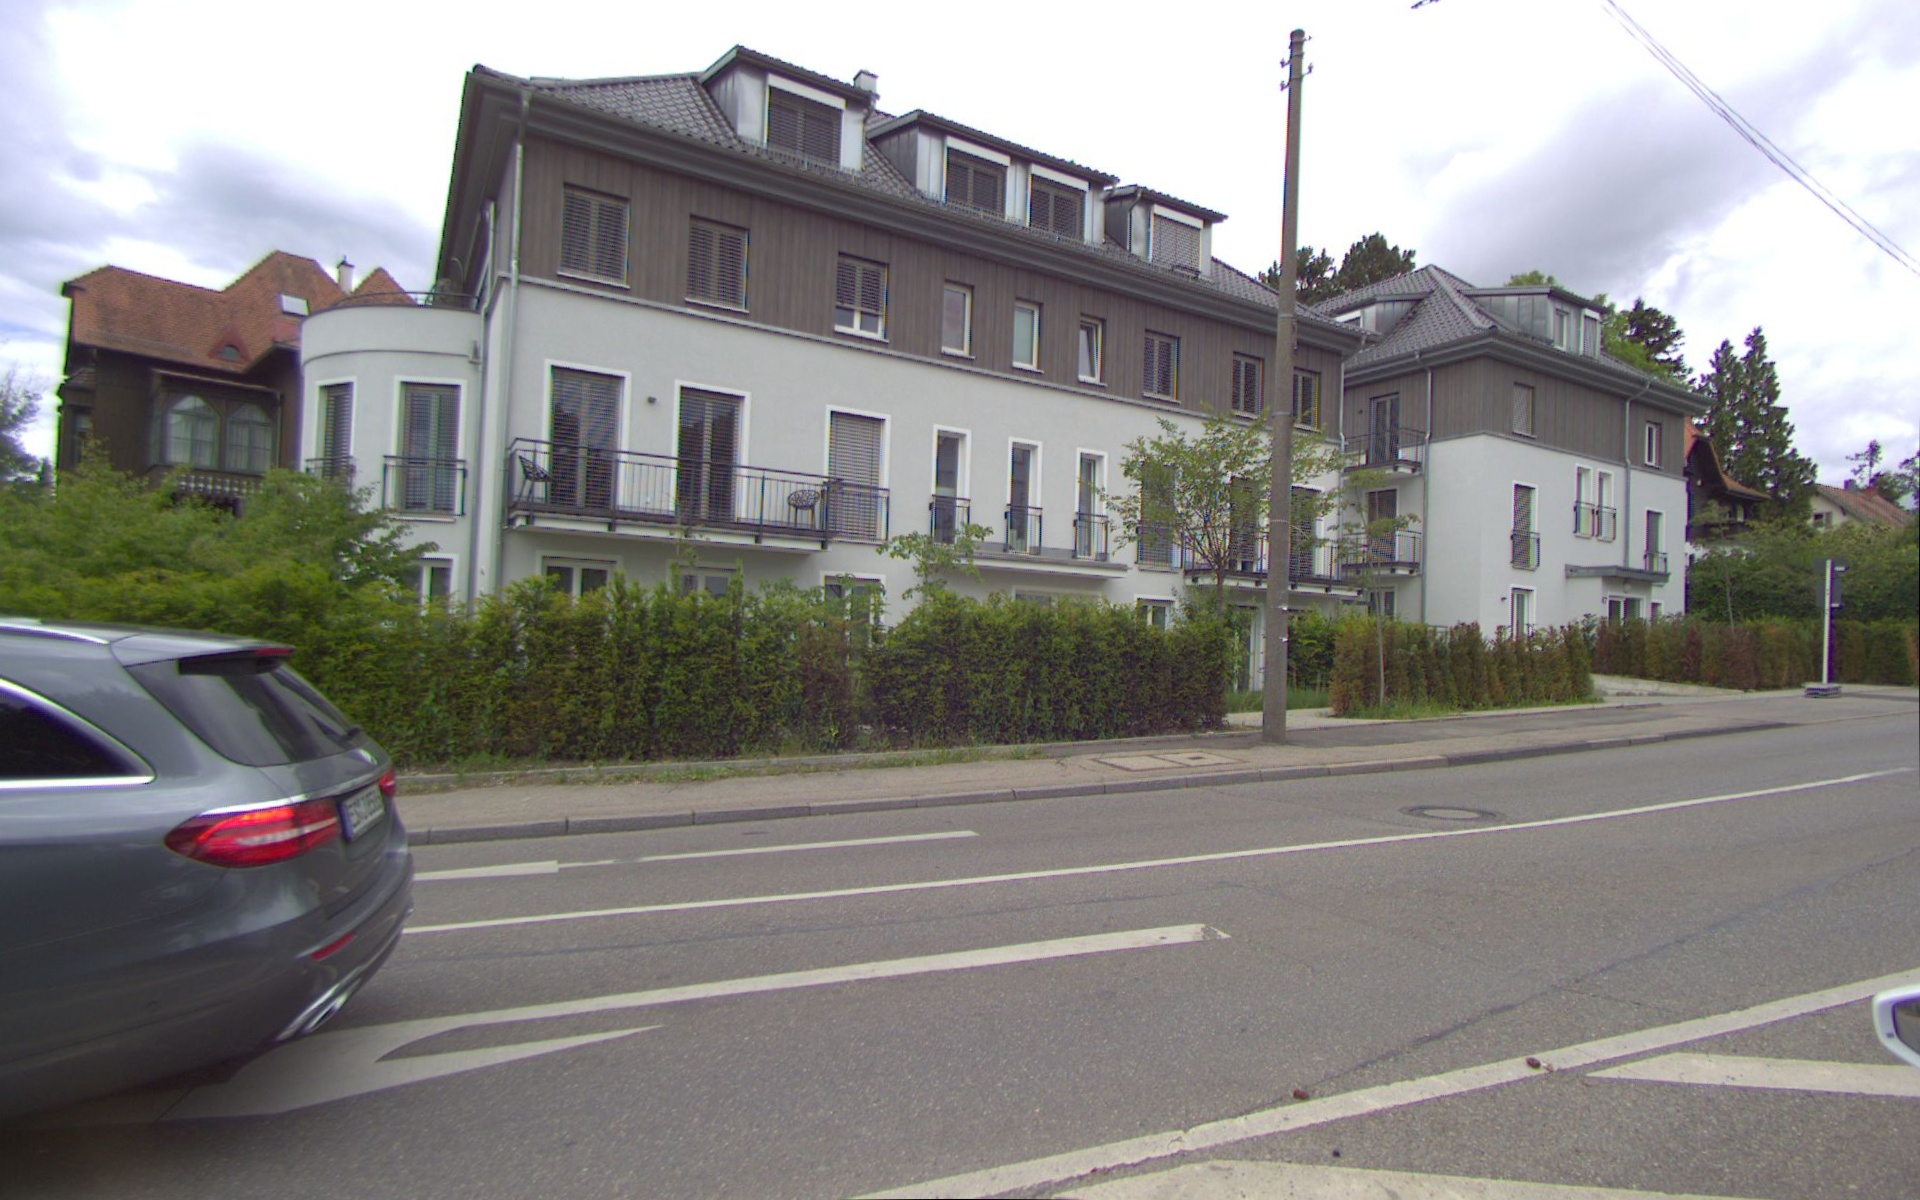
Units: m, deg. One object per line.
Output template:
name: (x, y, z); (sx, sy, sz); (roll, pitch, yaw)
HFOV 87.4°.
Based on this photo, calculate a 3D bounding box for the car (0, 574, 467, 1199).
car: (-3.996, 0.712, 2.599); (4.675, 1.504, 1.823); (0, -2, -20)
